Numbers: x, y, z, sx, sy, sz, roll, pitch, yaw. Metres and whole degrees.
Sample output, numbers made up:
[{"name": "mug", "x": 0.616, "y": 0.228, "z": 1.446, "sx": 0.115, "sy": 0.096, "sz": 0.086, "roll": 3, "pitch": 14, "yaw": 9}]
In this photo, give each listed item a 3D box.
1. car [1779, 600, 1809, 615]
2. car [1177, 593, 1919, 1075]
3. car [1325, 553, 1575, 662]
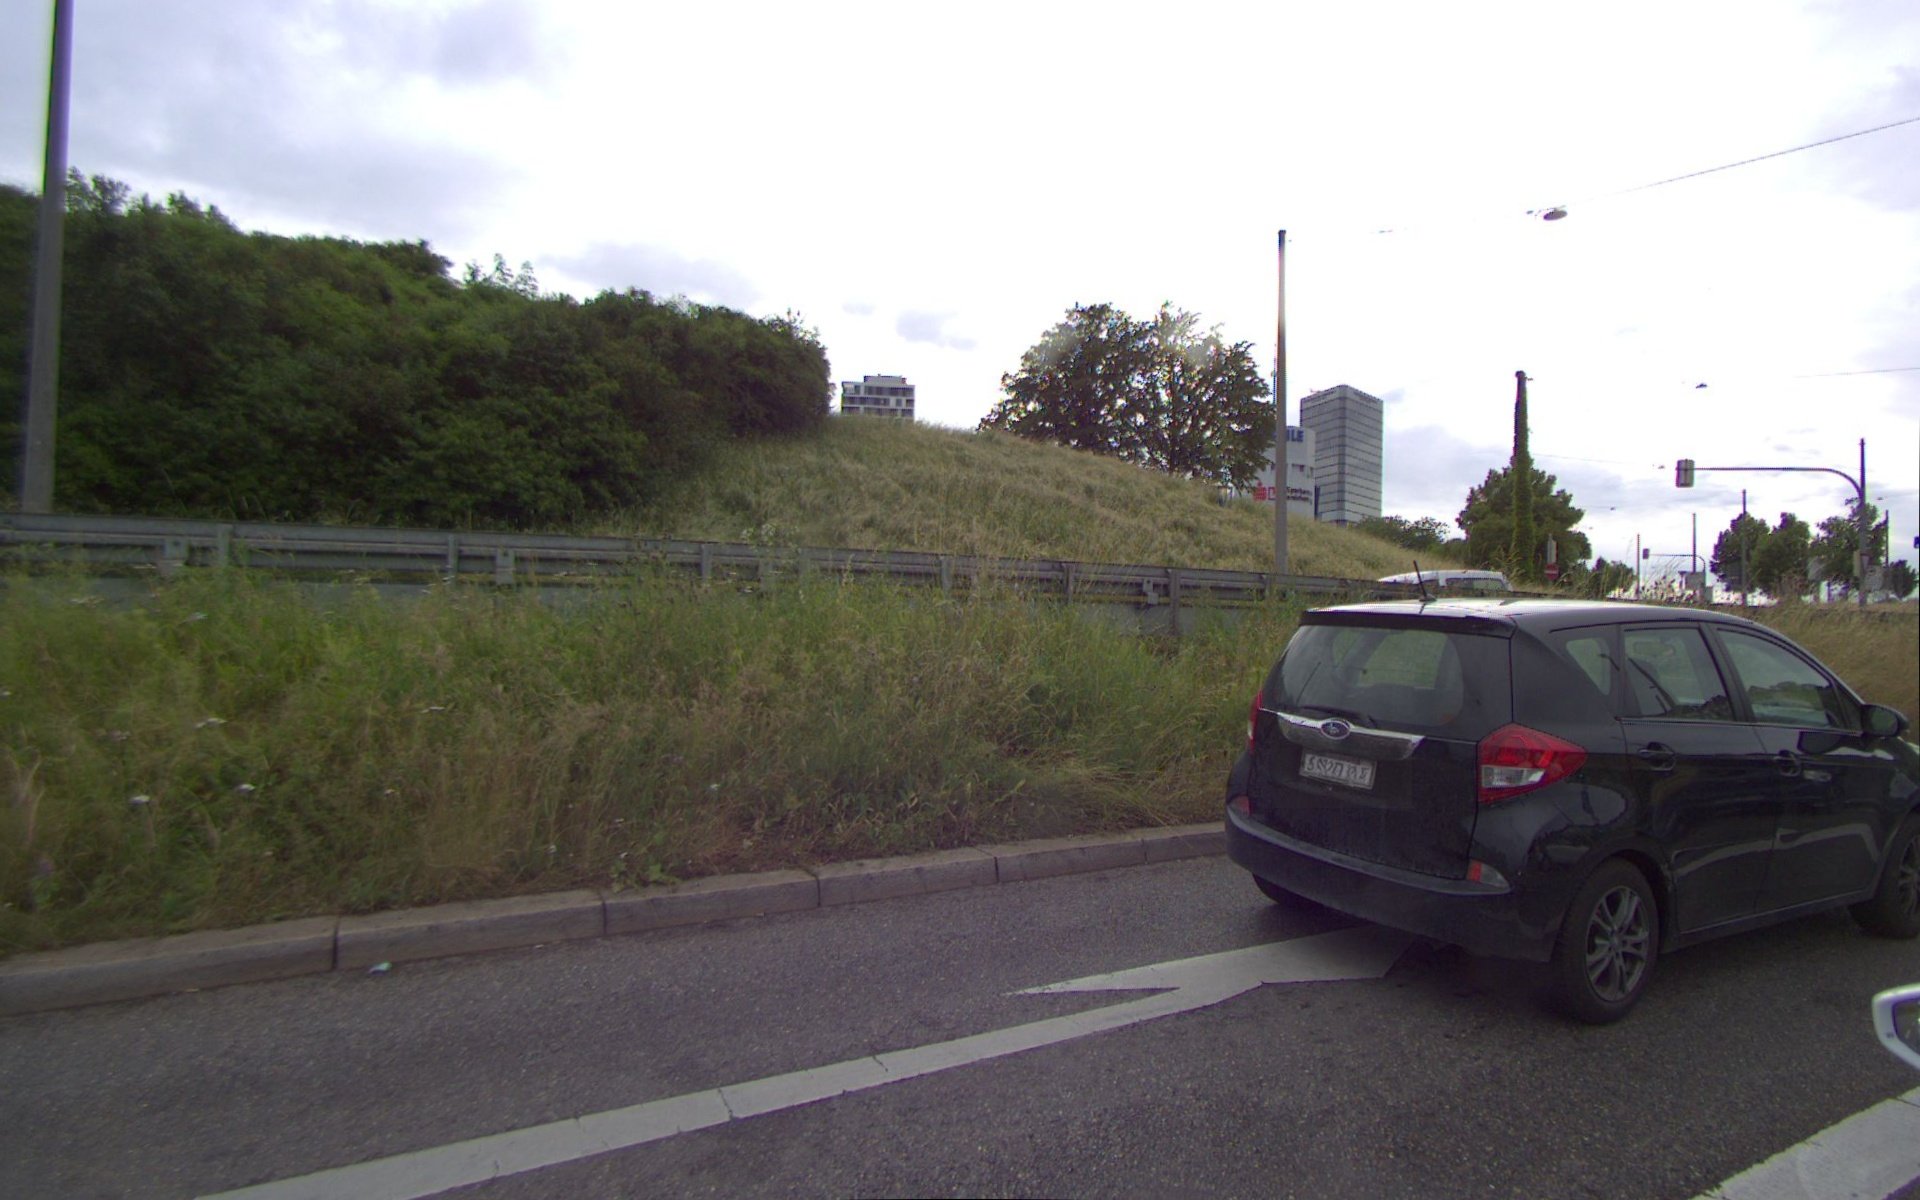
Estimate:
[{"name": "car", "x": 97.333, "y": 0.880, "z": 117.269, "sx": 1.965, "sy": 1.659, "sz": 4.410, "roll": 4, "pitch": 2, "yaw": 31}, {"name": "car", "x": 3.057, "y": 0.767, "z": 4.845, "sx": 3.730, "sy": 1.525, "sz": 1.635, "roll": 0, "pitch": 2, "yaw": -27}, {"name": "car", "x": 9.761, "y": 0.189, "z": 20.002, "sx": 4.629, "sy": 1.874, "sz": 1.813, "roll": 3, "pitch": -1, "yaw": -22}]
